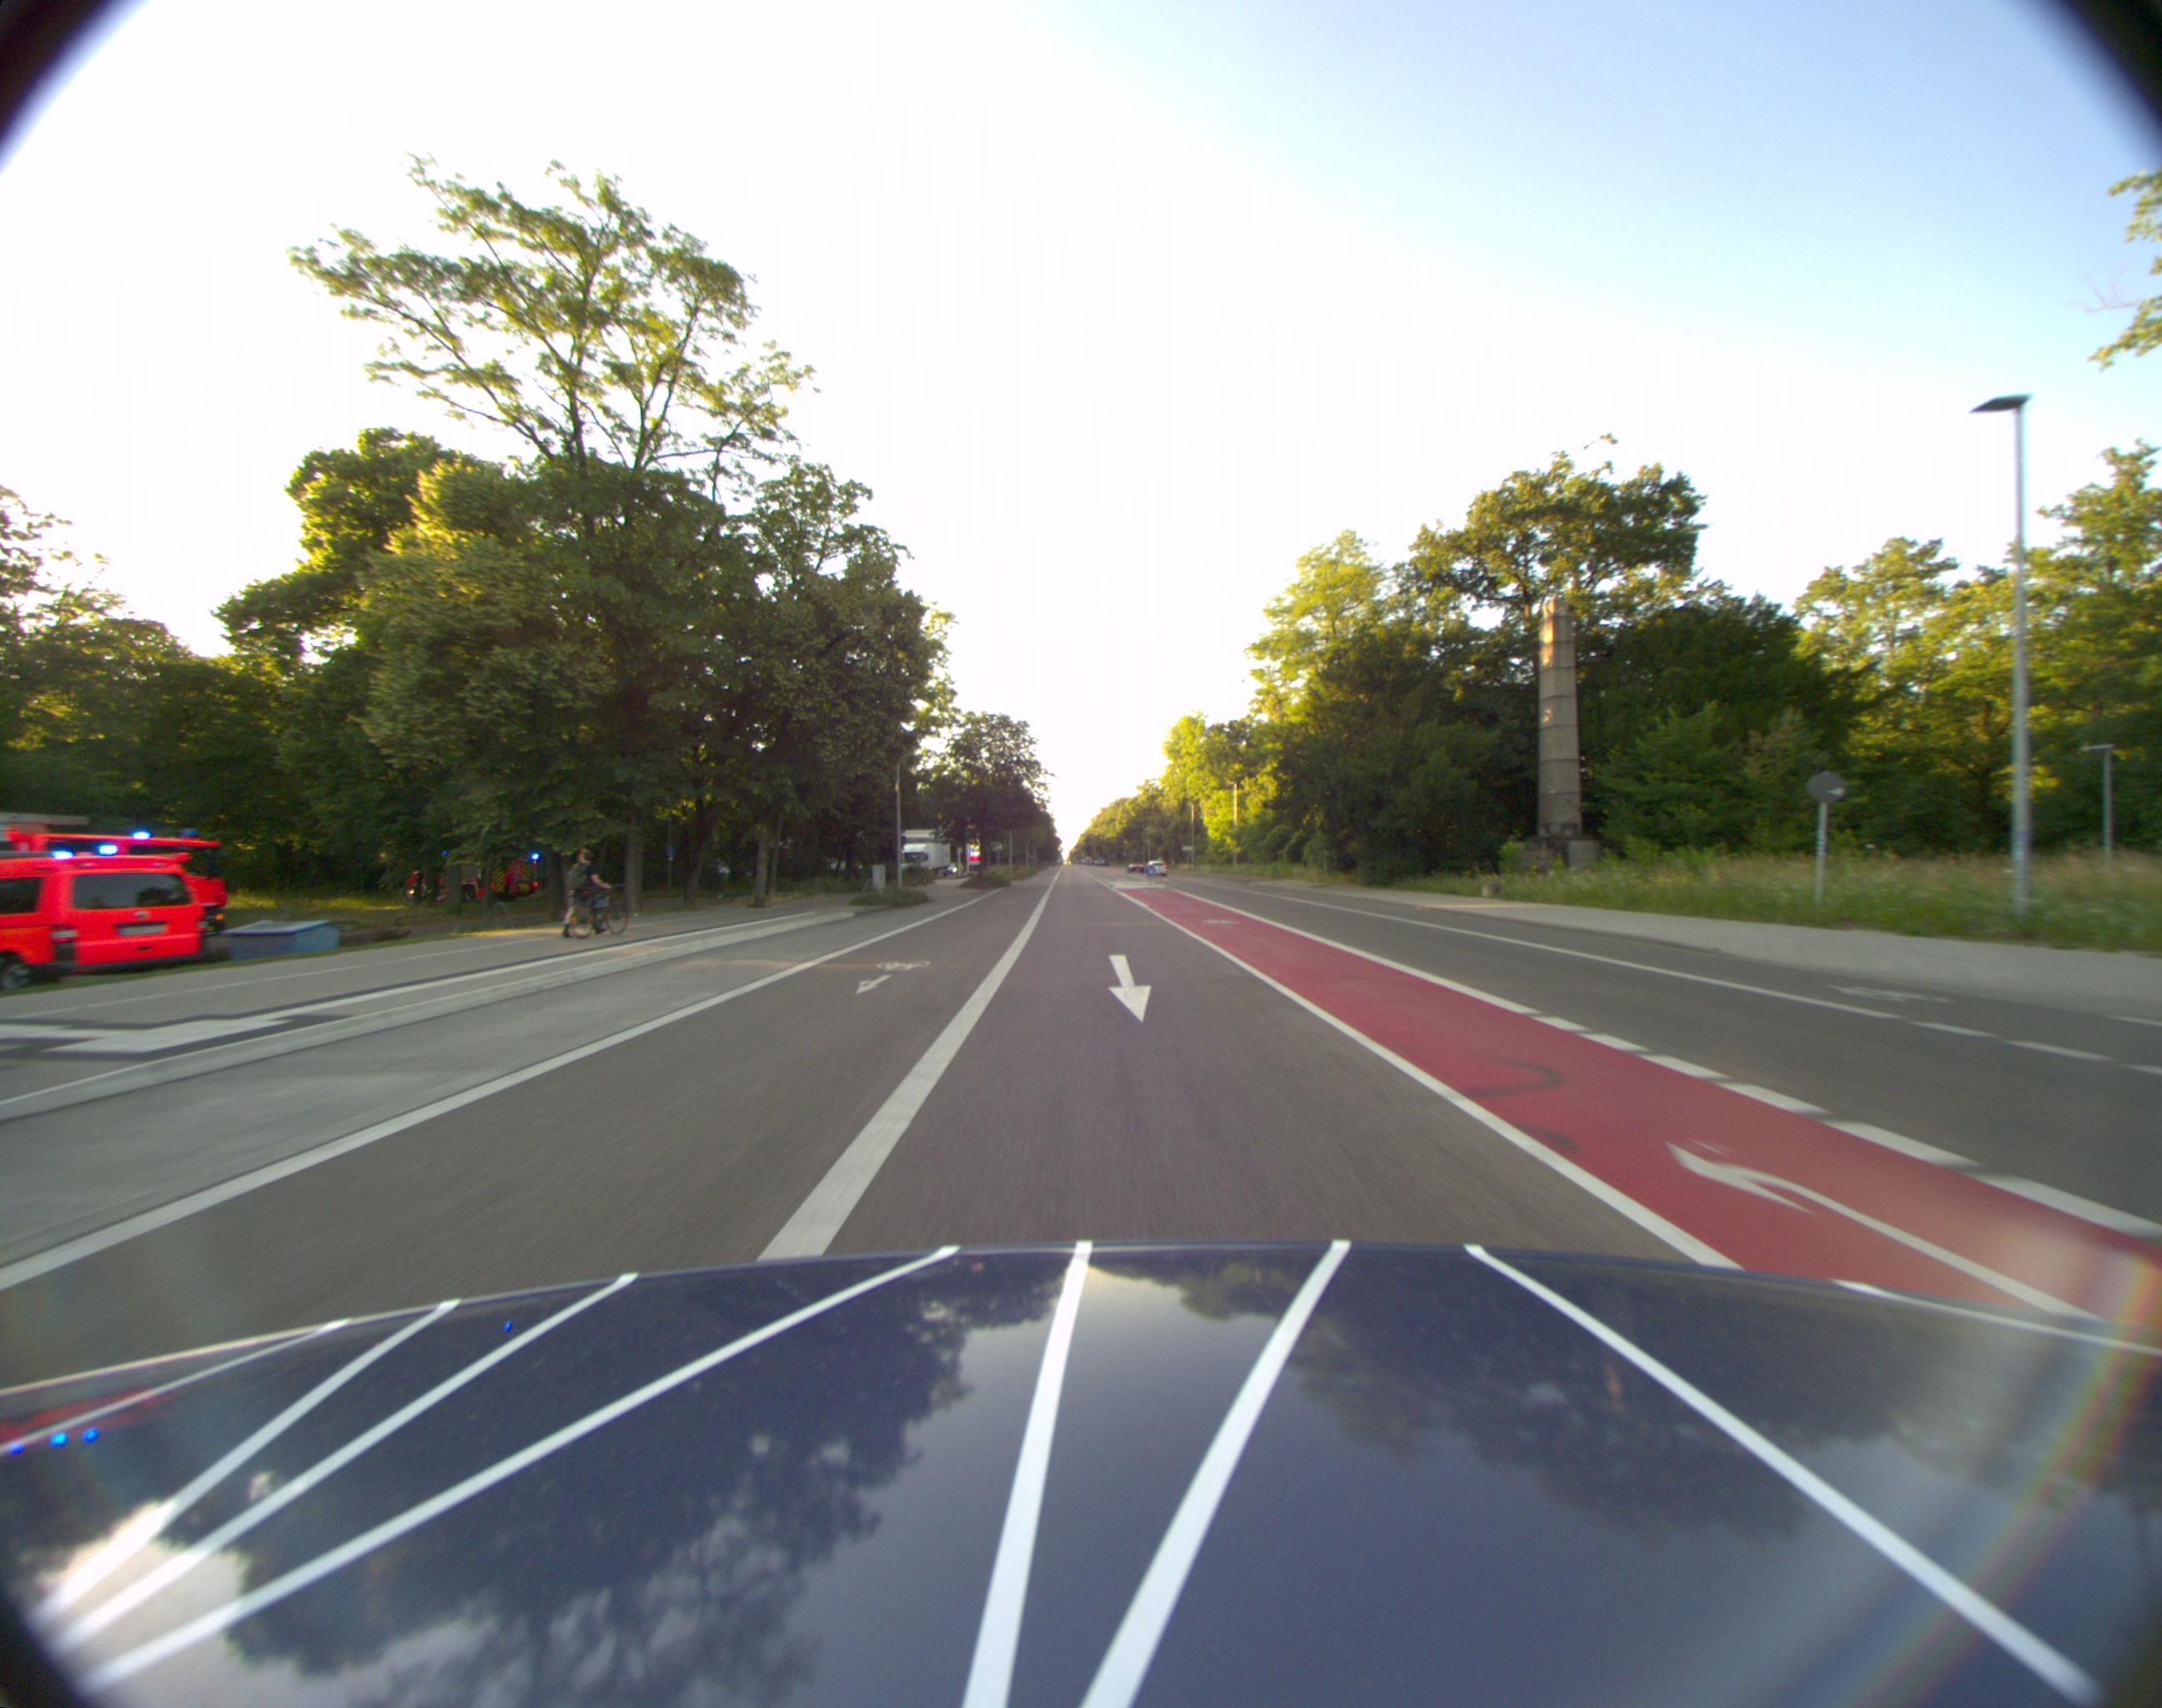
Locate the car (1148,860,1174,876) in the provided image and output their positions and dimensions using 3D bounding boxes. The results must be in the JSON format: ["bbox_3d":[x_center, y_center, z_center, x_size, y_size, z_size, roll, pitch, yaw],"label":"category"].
[{"bbox_3d":[7.589,1.291,72.553,1.851,1.406,4.179,-1,0,-2],"label":"car"}]

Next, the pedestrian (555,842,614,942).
[{"bbox_3d":[-10.205,0.767,15.630,0.725,2.002,0.695,0,0,0],"label":"pedestrian"}]

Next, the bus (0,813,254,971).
[{"bbox_3d":[-23.130,0.823,15.522,2.993,3.177,7.970,-2,0,10],"label":"bus"}]

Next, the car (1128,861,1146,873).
[{"bbox_3d":[6.637,1.554,90.723,1.754,1.299,3.999,-1,0,-2],"label":"car"}]

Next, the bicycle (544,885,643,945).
[{"bbox_3d":[-10.052,1.223,15.756,0.832,1.091,1.968,1,0,-2],"label":"bicycle"}]

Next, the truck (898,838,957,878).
[{"bbox_3d":[-16.125,0.383,81.377,3.227,3.707,15.884,-2,0,-1],"label":"truck"}]

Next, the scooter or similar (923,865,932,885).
[{"bbox_3d":[-10.163,1.388,50.420,0.483,1.274,1.139,0,0,-6],"label":"scooter or similar"}]

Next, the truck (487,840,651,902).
[{"bbox_3d":[-28.332,0.980,42.025,8.645,3.192,2.765,-1,0,19],"label":"truck"}]

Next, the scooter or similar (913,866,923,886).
[{"bbox_3d":[-10.522,1.391,48.944,0.483,1.274,1.231,0,0,-6],"label":"scooter or similar"}]

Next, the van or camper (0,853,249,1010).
[{"bbox_3d":[-17.053,1.213,12.479,4.821,2.231,2.297,-2,0,11],"label":"van or camper"}]

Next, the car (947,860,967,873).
[{"bbox_3d":[-16.362,1.631,100.491,1.999,1.581,4.709,-2,0,-2],"label":"car"}]
